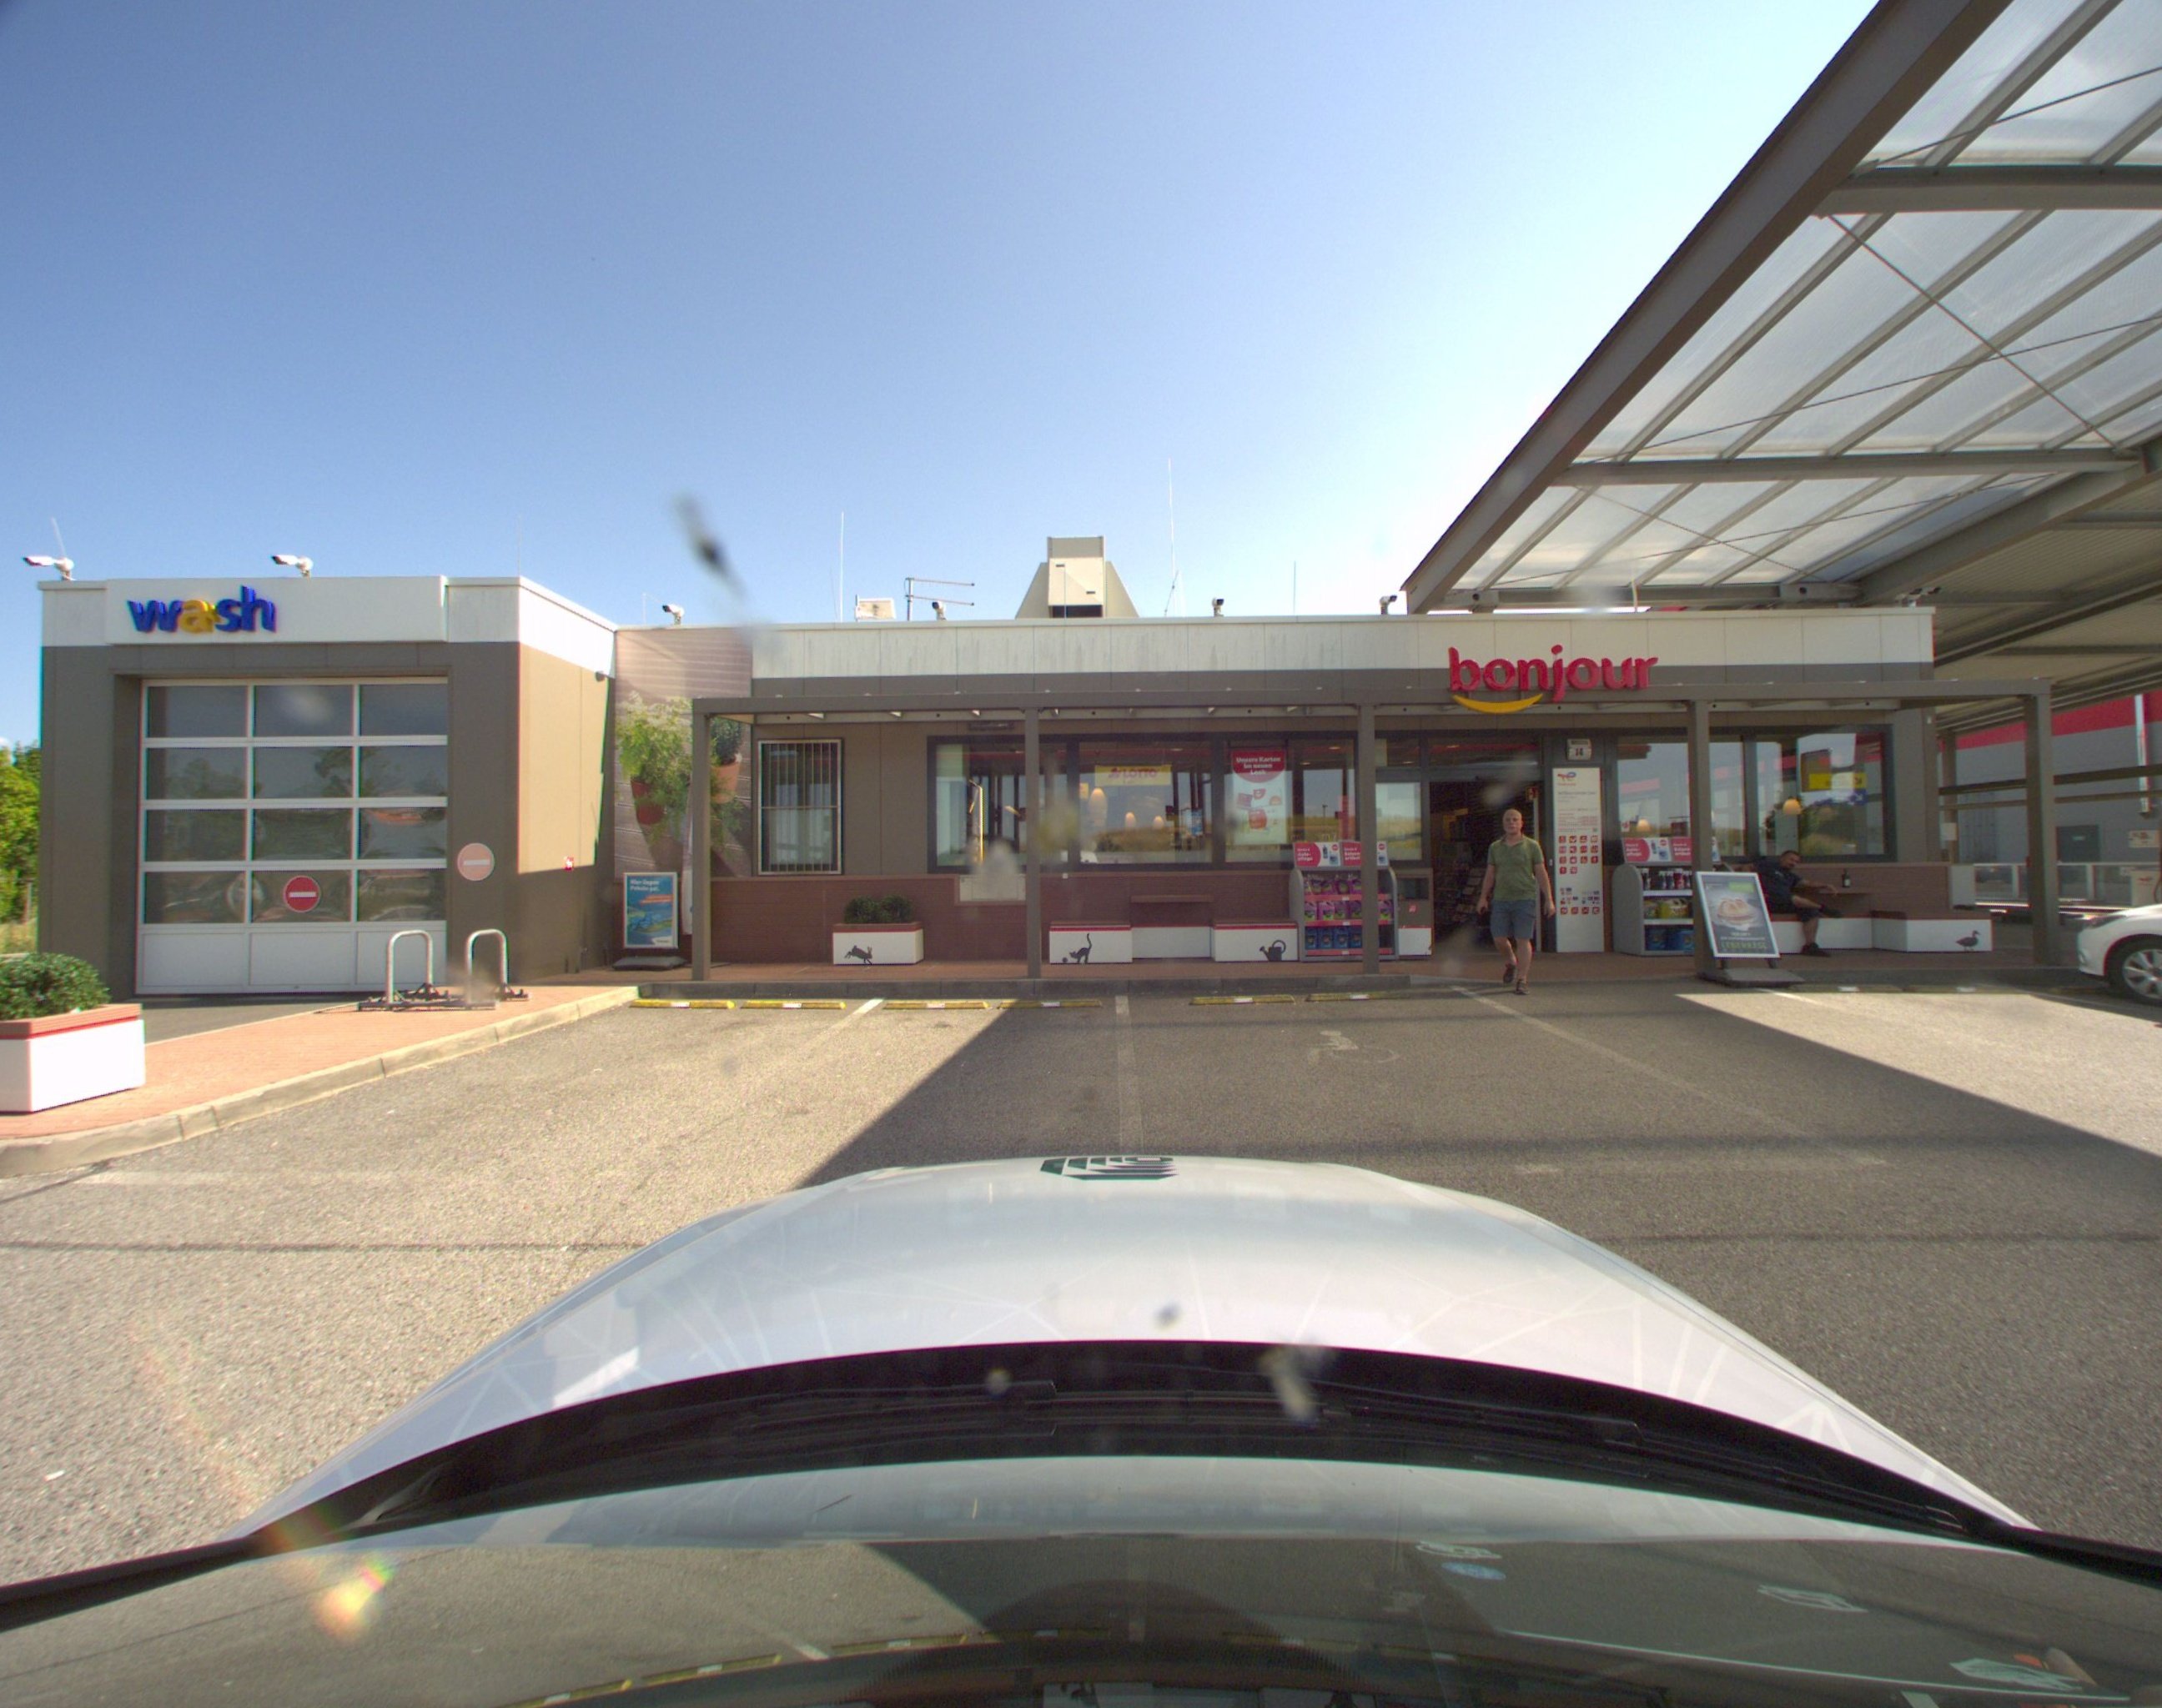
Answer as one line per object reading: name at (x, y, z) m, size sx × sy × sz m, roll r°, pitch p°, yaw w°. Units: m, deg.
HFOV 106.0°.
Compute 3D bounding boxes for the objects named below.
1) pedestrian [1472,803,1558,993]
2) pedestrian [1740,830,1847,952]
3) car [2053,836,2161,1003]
pedestrian at (4.382, 0.418, 8.240) m, size 0.694 × 1.797 × 0.867 m, roll -1°, pitch -1°, yaw 27°
pedestrian at (8.716, 0.442, 9.982) m, size 0.699 × 1.432 × 0.672 m, roll -1°, pitch -1°, yaw 0°
car at (10.452, 0.550, 5.776) m, size 1.827 × 1.457 × 4.314 m, roll -1°, pitch 0°, yaw -5°
